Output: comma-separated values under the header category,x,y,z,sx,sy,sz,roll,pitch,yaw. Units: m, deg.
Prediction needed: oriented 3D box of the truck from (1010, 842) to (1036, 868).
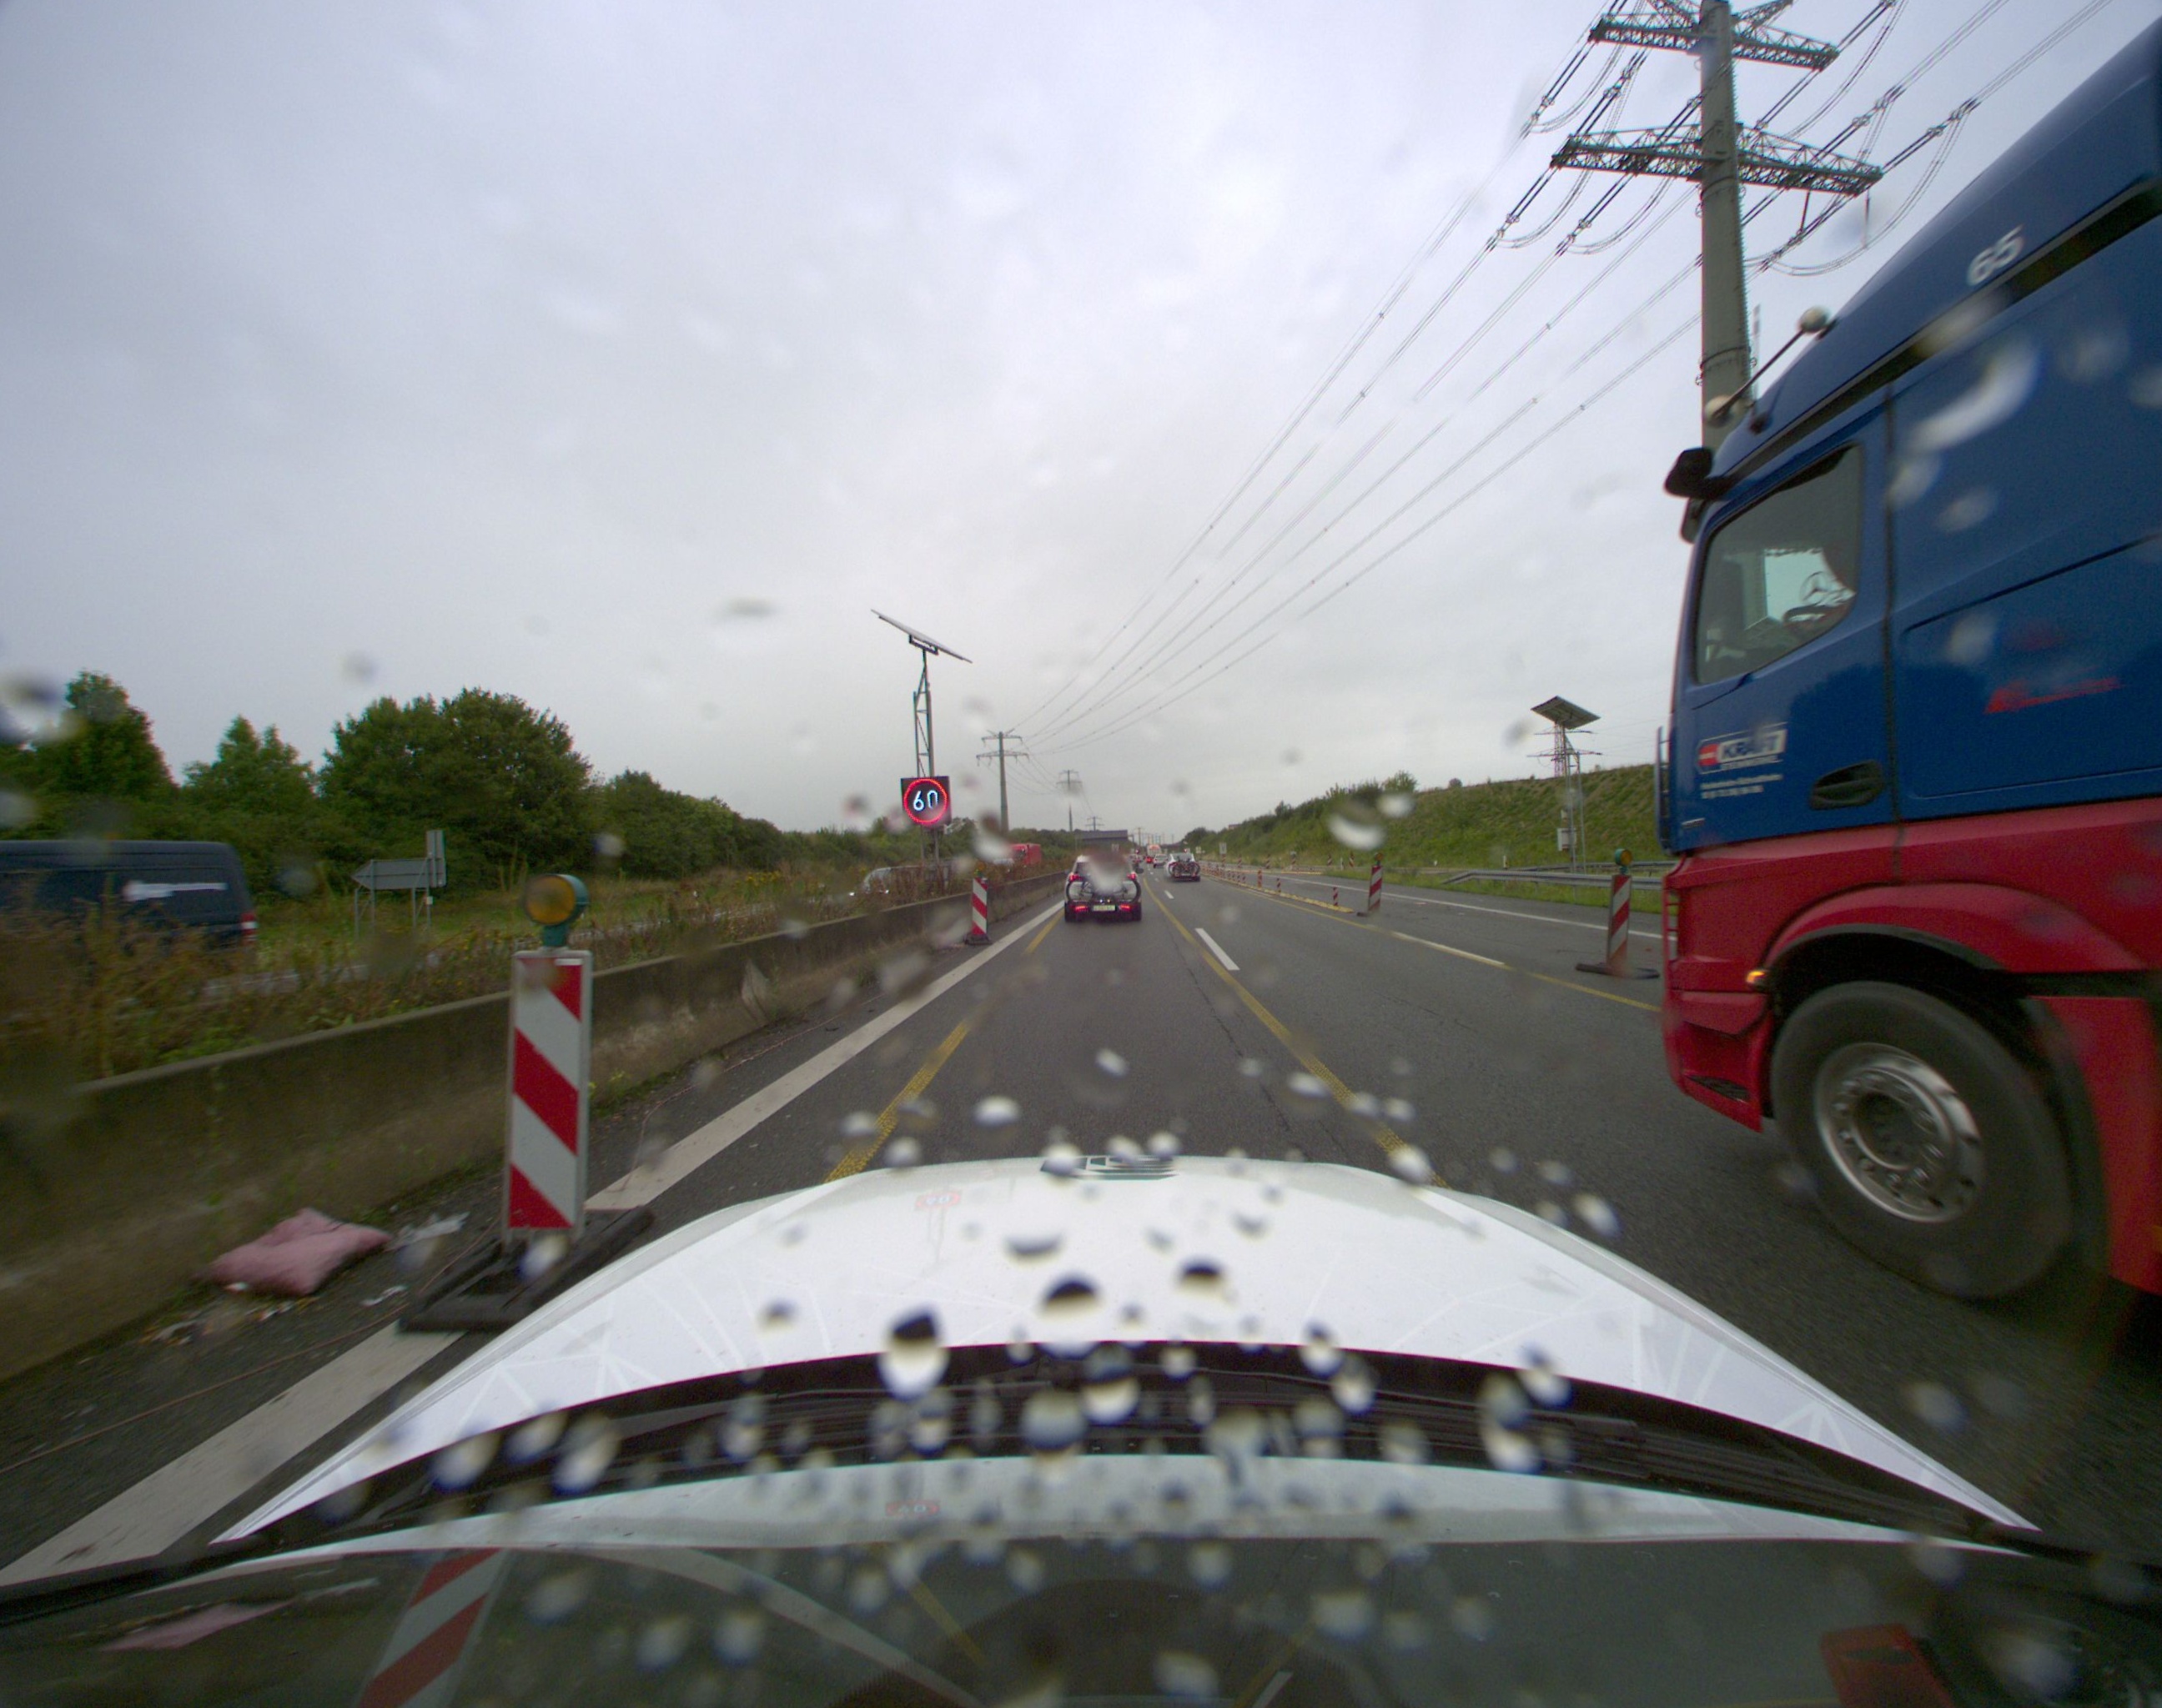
category,x,y,z,sx,sy,sz,roll,pitch,yaw
truck,-8.081,0.150,113.401,3.012,3.531,4.930,-1,-1,3

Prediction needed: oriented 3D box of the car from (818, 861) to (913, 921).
category,x,y,z,sx,sy,sz,roll,pitch,yaw
car,-7.516,1.234,28.896,1.986,1.959,4.673,-1,-1,2

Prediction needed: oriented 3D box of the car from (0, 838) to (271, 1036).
category,x,y,z,sx,sy,sz,roll,pitch,yaw
car,-15.287,1.111,11.316,2.042,2.609,5.850,-1,-1,2

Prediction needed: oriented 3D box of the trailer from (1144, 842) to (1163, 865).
category,x,y,z,sx,sy,sz,roll,pitch,yaw
trailer,12.830,-0.014,145.320,2.629,3.893,10.543,-1,-1,1

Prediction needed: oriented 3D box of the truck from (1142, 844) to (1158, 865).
category,x,y,z,sx,sy,sz,roll,pitch,yaw
truck,12.919,0.077,151.807,2.636,3.891,4.030,-1,-1,0

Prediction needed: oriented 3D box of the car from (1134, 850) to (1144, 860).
category,x,y,z,sx,sy,sz,roll,pitch,yaw
car,12.516,0.235,175.795,1.987,2.014,4.000,-1,-1,1

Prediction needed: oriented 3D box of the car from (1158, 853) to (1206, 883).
category,x,y,z,sx,sy,sz,roll,pitch,yaw
car,5.695,0.766,46.570,2.039,1.596,5.801,-1,0,1

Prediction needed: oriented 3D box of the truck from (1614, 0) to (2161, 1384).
category,x,y,z,sx,sy,sz,roll,pitch,yaw
truck,3.989,-0.645,2.196,2.537,3.947,4.002,-1,-1,2

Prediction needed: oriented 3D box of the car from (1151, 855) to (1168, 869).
category,x,y,z,sx,sy,sz,roll,pitch,yaw
car,9.030,0.863,94.034,1.862,1.535,4.201,-2,0,4

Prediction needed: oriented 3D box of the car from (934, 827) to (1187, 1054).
category,x,y,z,sx,sy,sz,roll,pitch,yaw
car,-0.089,0.703,8.636,1.986,1.760,4.002,-3,0,2

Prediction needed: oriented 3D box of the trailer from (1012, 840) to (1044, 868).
category,x,y,z,sx,sy,sz,roll,pitch,yaw
trailer,-7.724,0.064,120.688,3.025,3.814,13.986,-1,-1,3

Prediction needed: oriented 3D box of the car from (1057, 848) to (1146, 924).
category,x,y,z,sx,sy,sz,roll,pitch,yaw
car,0.568,0.696,19.964,1.920,1.611,4.599,-1,0,3

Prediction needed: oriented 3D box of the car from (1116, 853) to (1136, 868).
category,x,y,z,sx,sy,sz,roll,pitch,yaw
car,4.801,0.673,87.460,1.987,1.584,4.000,-1,0,1
